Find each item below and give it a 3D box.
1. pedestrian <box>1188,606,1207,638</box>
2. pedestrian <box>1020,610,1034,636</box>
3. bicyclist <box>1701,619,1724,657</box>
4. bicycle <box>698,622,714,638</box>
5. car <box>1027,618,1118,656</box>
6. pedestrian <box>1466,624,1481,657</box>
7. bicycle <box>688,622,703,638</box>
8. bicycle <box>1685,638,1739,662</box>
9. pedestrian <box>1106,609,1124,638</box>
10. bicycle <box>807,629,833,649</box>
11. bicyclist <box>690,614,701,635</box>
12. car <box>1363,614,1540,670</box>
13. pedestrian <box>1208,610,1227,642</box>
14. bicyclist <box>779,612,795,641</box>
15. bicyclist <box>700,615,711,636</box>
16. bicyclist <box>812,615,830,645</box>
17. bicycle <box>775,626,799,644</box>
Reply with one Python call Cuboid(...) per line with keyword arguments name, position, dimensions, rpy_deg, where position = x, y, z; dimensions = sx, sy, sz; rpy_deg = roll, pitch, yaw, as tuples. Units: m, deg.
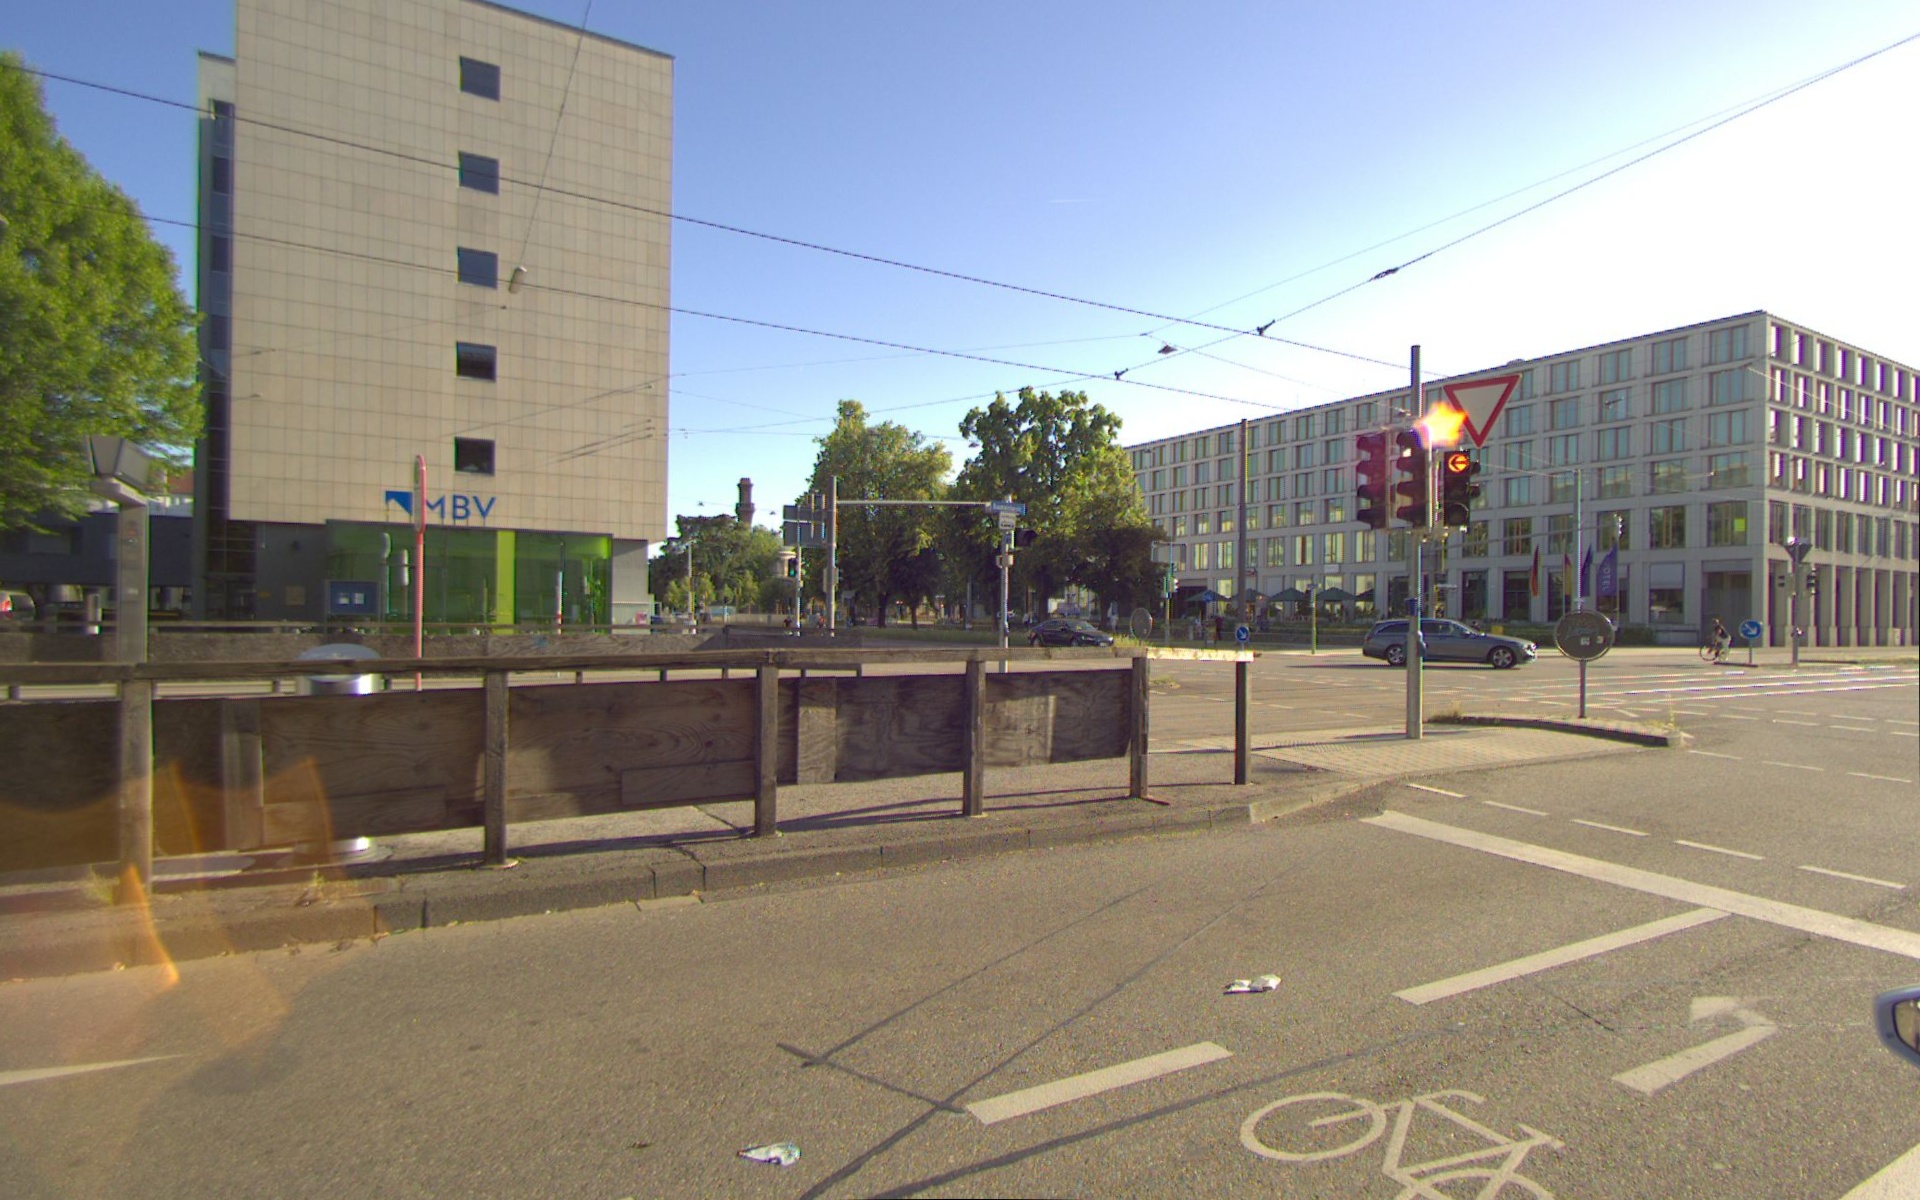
Cuboid(name="pedestrian", position=(15.568, 1.429, 65.842), dimensions=(0.812, 2.040, 0.841), rpy_deg=(2, 0, -20))
Cuboid(name="pedestrian", position=(5.354, 1.818, 80.183), dimensions=(0.813, 2.040, 0.840), rpy_deg=(2, 0, -24))
Cuboid(name="bicyclist", position=(31.854, 1.603, 42.503), dimensions=(0.765, 1.610, 0.758), rpy_deg=(0, -1, 38))
Cuboid(name="bicycle", position=(-19.096, 2.251, 75.483), dimensions=(0.616, 1.148, 1.869), rpy_deg=(1, -1, -31))
Cuboid(name="car", position=(4.871, 1.582, 44.106), dimensions=(1.647, 1.475, 4.392), rpy_deg=(-1, 1, -32))
Cuboid(name="pedestrian", position=(25.841, 2.032, 50.531), dimensions=(0.581, 1.610, 0.775), rpy_deg=(0, -1, 36))
Cuboid(name="bicycle", position=(-19.661, 2.213, 74.618), dimensions=(0.574, 1.148, 1.776), rpy_deg=(1, -1, -31))
Cuboid(name="bicycle", position=(31.826, 2.104, 42.536), dimensions=(1.833, 0.947, 0.760), rpy_deg=(0, -1, 37))
Cuboid(name="pedestrian", position=(11.093, 1.688, 71.913), dimensions=(0.816, 2.040, 0.837), rpy_deg=(2, 0, -34))
Cuboid(name="bicycle", position=(-7.016, 1.945, 50.357), dimensions=(0.638, 0.947, 1.733), rpy_deg=(1, -1, -32))
Cuboid(name="bicyclist", position=(-19.674, 1.818, 74.641), dimensions=(0.647, 1.544, 0.615), rpy_deg=(1, -1, -32))
Cuboid(name="car", position=(15.246, 1.263, 31.252), dimensions=(4.728, 1.586, 1.892), rpy_deg=(0, -1, 35))
Cuboid(name="pedestrian", position=(16.123, 1.619, 62.907), dimensions=(0.862, 1.925, 0.714), rpy_deg=(2, 0, -24))
Cuboid(name="bicyclist", position=(-9.375, 1.440, 54.475), dimensions=(0.600, 1.544, 0.758), rpy_deg=(1, -1, -34))
Cuboid(name="bicyclist", position=(-19.103, 1.908, 75.451), dimensions=(0.602, 1.544, 0.709), rpy_deg=(1, -1, -32))
Cuboid(name="bicyclist", position=(-6.982, 1.490, 50.322), dimensions=(0.611, 1.470, 0.794), rpy_deg=(1, -1, -33))
Cuboid(name="bicycle", position=(-9.402, 1.913, 54.487), dimensions=(0.554, 0.947, 1.846), rpy_deg=(1, -1, -34))
